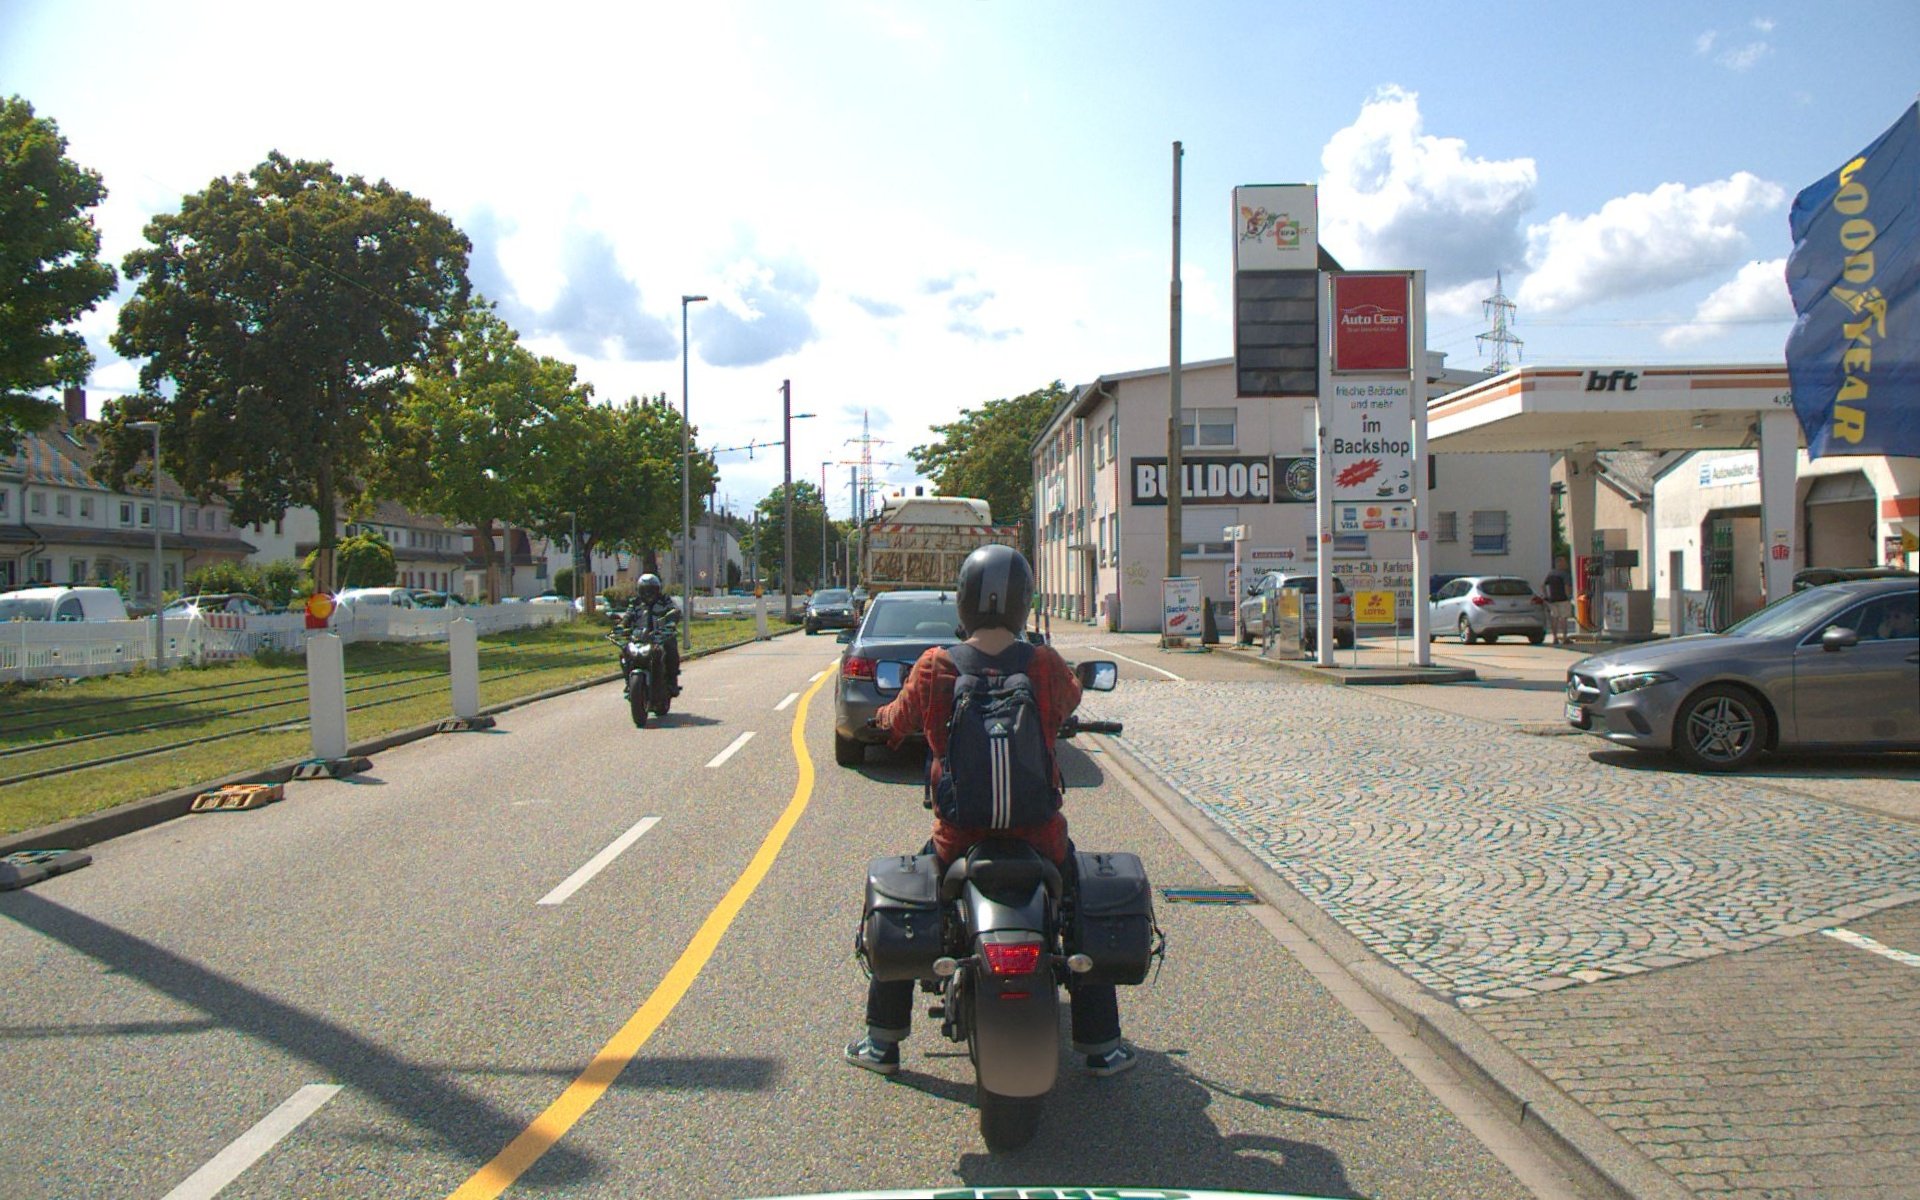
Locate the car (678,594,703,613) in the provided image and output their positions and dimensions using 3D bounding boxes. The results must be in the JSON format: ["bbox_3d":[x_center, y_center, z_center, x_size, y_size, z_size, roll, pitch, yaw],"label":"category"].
[{"bbox_3d":[-26.070,0.292,160.267,1.740,1.753,4.250,-1,0,-1],"label":"car"}]

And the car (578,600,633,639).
[{"bbox_3d":[-17.052,0.910,79.693,1.740,1.753,4.127,-1,0,-1],"label":"car"}]

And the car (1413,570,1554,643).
[{"bbox_3d":[11.723,0.118,37.273,1.770,1.529,3.831,-1,0,-3],"label":"car"}]

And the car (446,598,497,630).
[{"bbox_3d":[-28.295,0.780,95.843,1.740,1.753,4.127,-1,0,-1],"label":"car"}]

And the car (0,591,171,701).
[{"bbox_3d":[-16.419,0.780,30.398,1.740,1.853,4.363,-1,0,-1],"label":"car"}]

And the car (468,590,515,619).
[{"bbox_3d":[-29.421,0.277,103.961,1.740,1.753,4.127,-1,0,-1],"label":"car"}]

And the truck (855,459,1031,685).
[{"bbox_3d":[-0.313,-0.456,28.943,2.585,3.354,8.055,-1,0,-1],"label":"truck"}]

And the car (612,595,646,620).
[{"bbox_3d":[-24.958,0.552,124.861,1.740,1.753,4.127,-1,0,-1],"label":"car"}]

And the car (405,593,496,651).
[{"bbox_3d":[-16.970,0.698,55.269,1.740,1.837,4.127,-1,0,-1],"label":"car"}]

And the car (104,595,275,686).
[{"bbox_3d":[-16.672,0.825,36.034,1.740,1.805,4.227,-1,0,-1],"label":"car"}]

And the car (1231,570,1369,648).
[{"bbox_3d":[7.459,0.174,36.638,1.636,1.589,4.236,-1,0,-8],"label":"car"}]

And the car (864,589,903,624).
[{"bbox_3d":[-3.821,0.298,83.551,1.786,1.630,4.323,-2,0,-1],"label":"car"}]

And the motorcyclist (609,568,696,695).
[{"bbox_3d":[-3.485,0.344,18.813,0.851,1.402,0.800,-1,0,-4],"label":"motorcyclist"}]

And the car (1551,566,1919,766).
[{"bbox_3d":[6.974,0.467,12.880,4.181,1.440,1.675,-1,0,7],"label":"car"}]

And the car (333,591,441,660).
[{"bbox_3d":[-16.938,0.713,49.091,1.740,1.900,4.127,-1,0,-1],"label":"car"}]

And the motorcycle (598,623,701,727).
[{"bbox_3d":[-3.480,0.811,18.744,0.851,1.039,2.243,-1,0,-3],"label":"motorcycle"}]

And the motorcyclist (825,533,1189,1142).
[{"bbox_3d":[0.121,0.637,5.025,0.959,1.630,1.087,-1,0,-1],"label":"motorcyclist"}]

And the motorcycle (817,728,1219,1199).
[{"bbox_3d":[0.123,0.991,5.331,0.959,0.913,2.653,-1,0,-1],"label":"motorcycle"}]

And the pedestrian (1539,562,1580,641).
[{"bbox_3d":[12.955,0.029,35.719,0.696,1.685,0.546,-1,0,35],"label":"pedestrian"}]

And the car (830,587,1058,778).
[{"bbox_3d":[-0.153,0.638,15.098,1.786,1.478,3.999,1,0,-1],"label":"car"}]

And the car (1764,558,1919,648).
[{"bbox_3d":[16.619,0.023,30.328,1.770,1.529,3.832,-1,0,-3],"label":"car"}]

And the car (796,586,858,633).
[{"bbox_3d":[-4.499,0.278,56.386,1.786,1.478,4.323,-2,0,-1],"label":"car"}]
